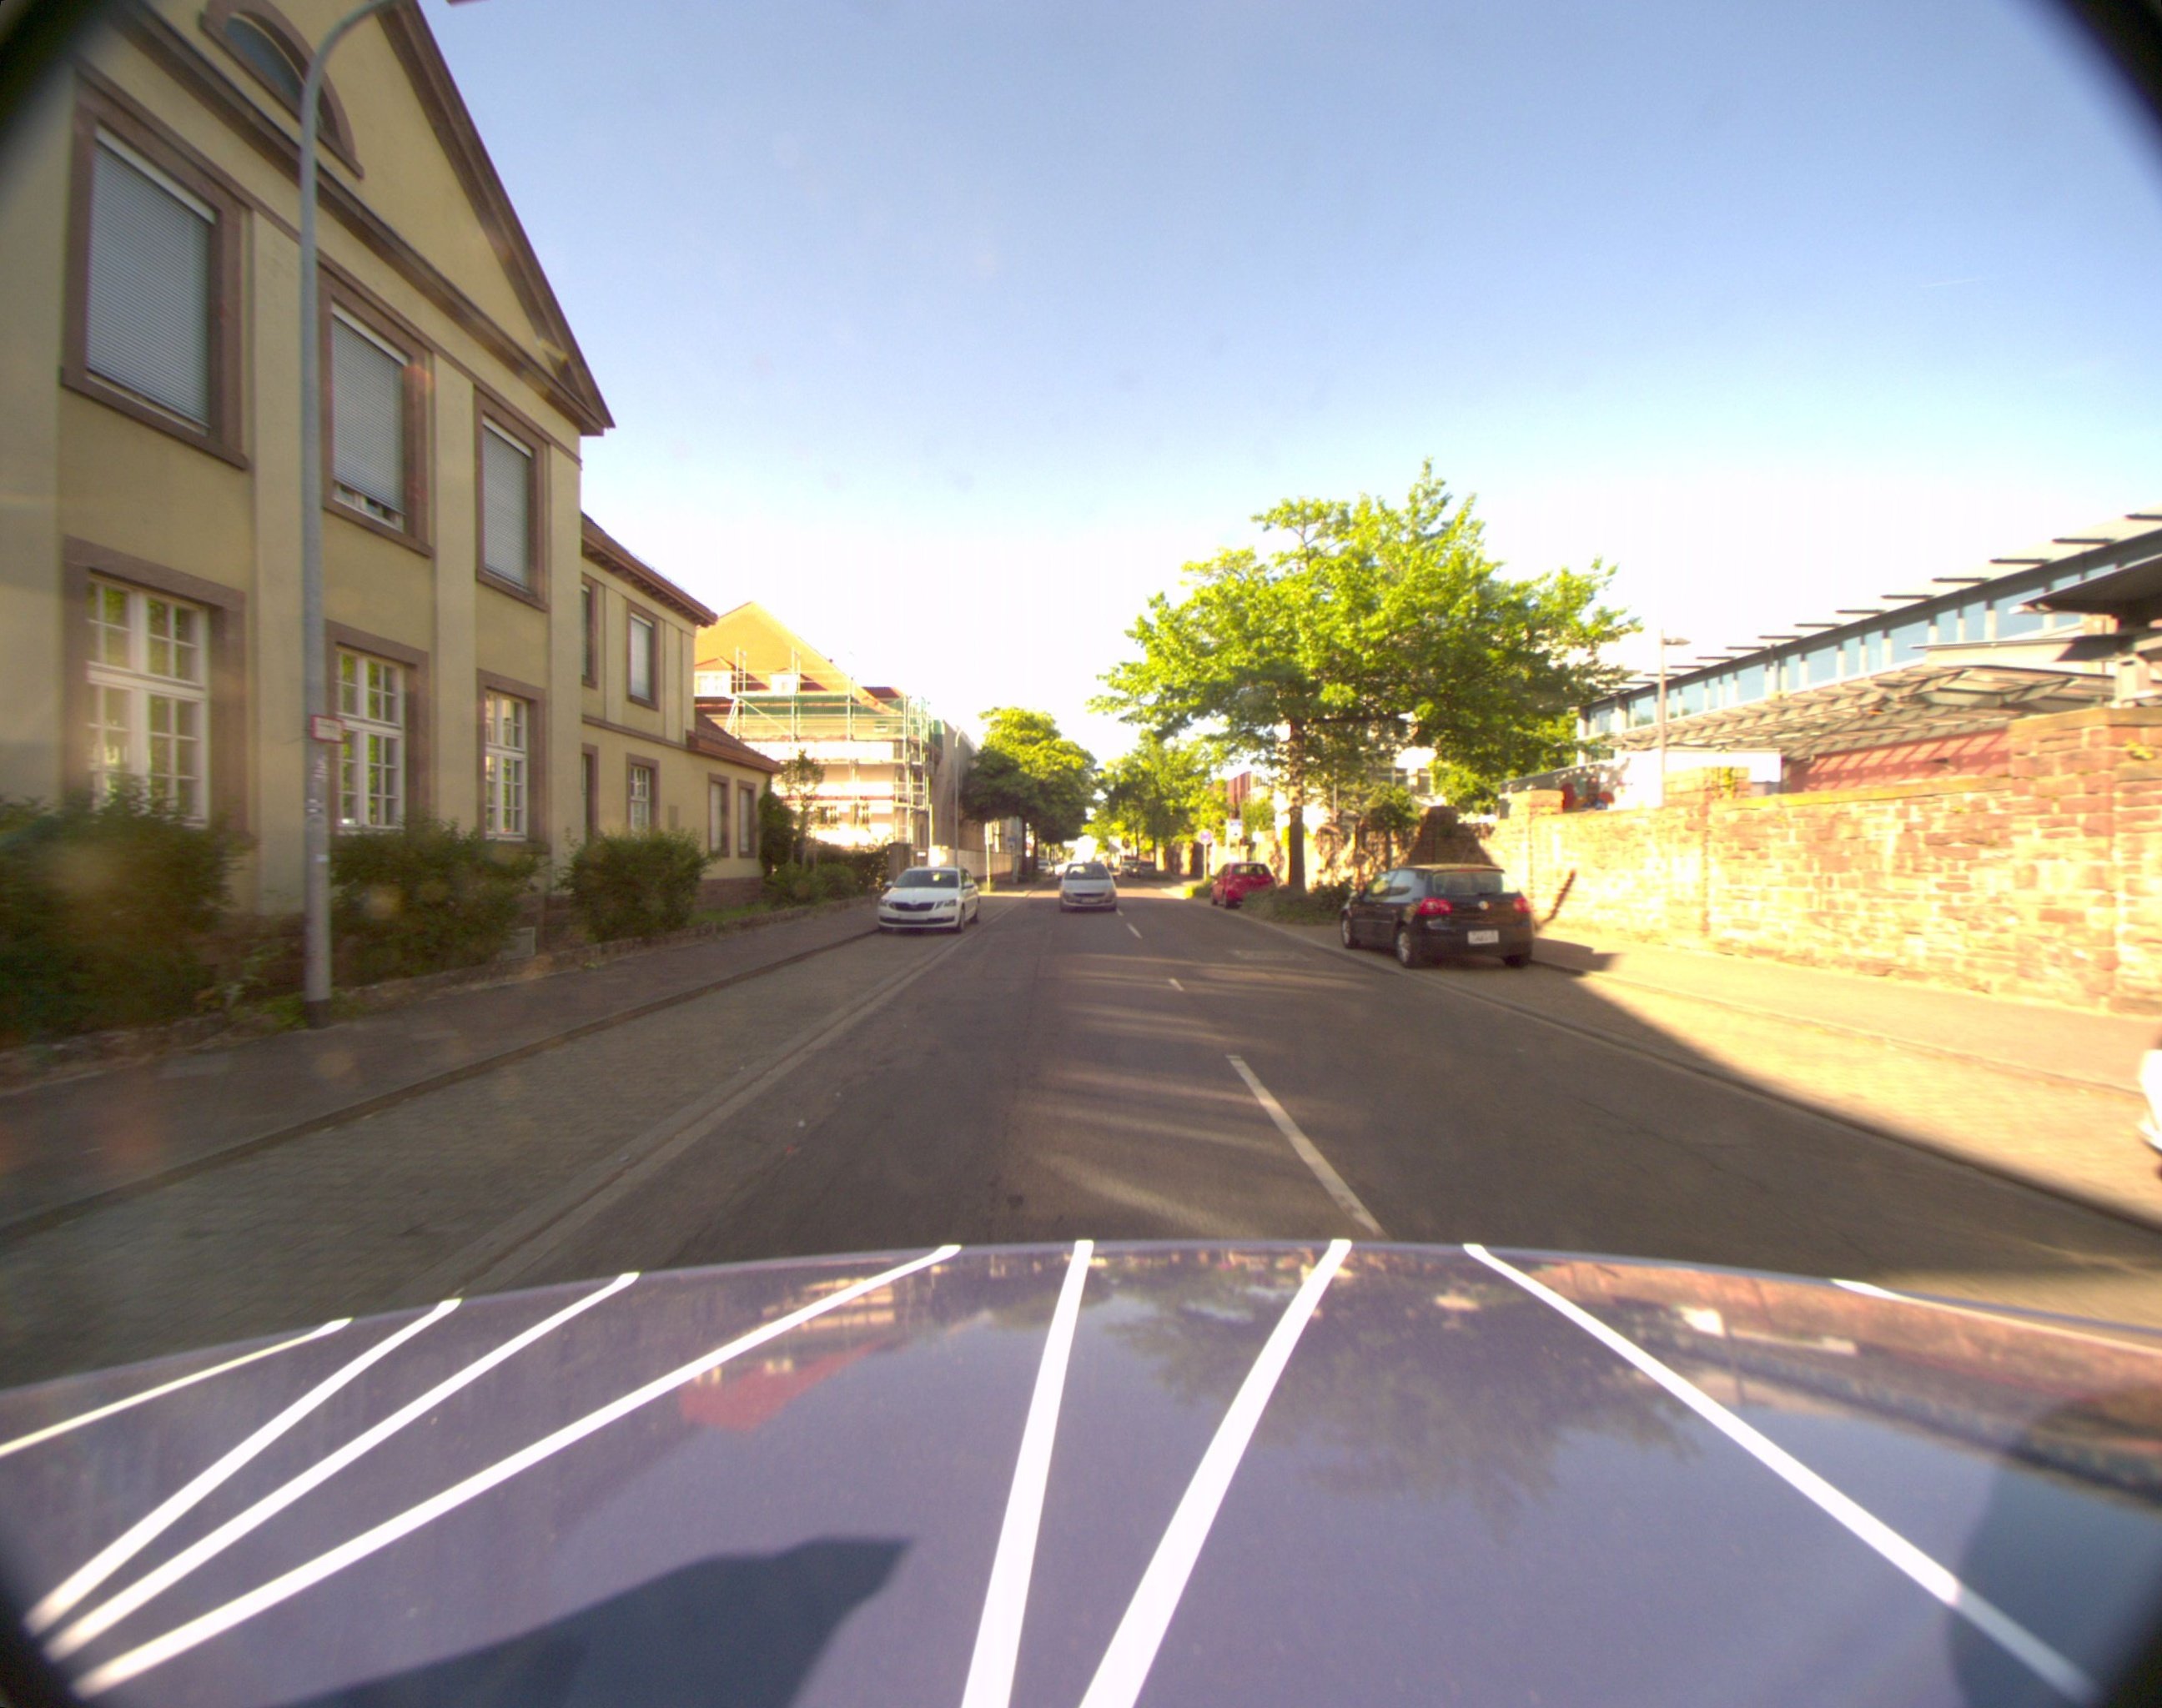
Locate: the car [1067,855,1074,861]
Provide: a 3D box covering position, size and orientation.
[{"bbox_3d":[-2.599,1.054,187.964,1.757,1.459,3.485,-2,0,-1],"label":"car"}]

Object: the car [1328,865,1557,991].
[{"bbox_3d":[5.444,1.014,12.095,1.741,1.583,4.107,-1,0,1],"label":"car"}]

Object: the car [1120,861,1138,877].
[{"bbox_3d":[5.096,1.601,80.889,1.681,1.502,3.851,-4,-2,0],"label":"car"}]

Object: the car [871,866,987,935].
[{"bbox_3d":[-3.357,0.984,17.619,1.837,1.315,4.495,0,0,-1],"label":"car"}]

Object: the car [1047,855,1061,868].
[{"bbox_3d":[-3.474,0.906,99.037,1.797,1.606,4.126,-2,0,-2],"label":"car"}]

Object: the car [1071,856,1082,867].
[{"bbox_3d":[-0.798,1.314,136.516,1.834,1.732,3.999,-2,0,-2],"label":"car"}]

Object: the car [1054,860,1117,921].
[{"bbox_3d":[0.163,1.060,23.736,1.748,1.613,4.106,-2,0,1],"label":"car"}]

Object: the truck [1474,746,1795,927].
[{"bbox_3d":[13.561,-0.373,19.679,2.739,3.689,7.427,-2,0,-1],"label":"truck"}]

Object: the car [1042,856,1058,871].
[{"bbox_3d":[-3.404,1.004,83.259,1.717,1.628,4.302,-1,0,-2],"label":"car"}]

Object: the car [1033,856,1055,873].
[{"bbox_3d":[-3.547,1.005,73.976,1.727,1.501,3.993,1,0,3],"label":"car"}]

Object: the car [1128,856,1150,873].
[{"bbox_3d":[5.216,0.920,68.978,1.578,1.506,4.044,-1,0,-1],"label":"car"}]

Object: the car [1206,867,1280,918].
[{"bbox_3d":[5.313,1.217,25.308,1.613,1.450,3.708,-2,0,0],"label":"car"}]

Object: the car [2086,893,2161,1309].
[{"bbox_3d":[5.292,0.998,1.154,1.724,1.674,4.350,-1,0,-2],"label":"car"}]

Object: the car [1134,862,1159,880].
[{"bbox_3d":[5.476,1.406,63.888,1.691,1.413,3.838,-2,0,0],"label":"car"}]
